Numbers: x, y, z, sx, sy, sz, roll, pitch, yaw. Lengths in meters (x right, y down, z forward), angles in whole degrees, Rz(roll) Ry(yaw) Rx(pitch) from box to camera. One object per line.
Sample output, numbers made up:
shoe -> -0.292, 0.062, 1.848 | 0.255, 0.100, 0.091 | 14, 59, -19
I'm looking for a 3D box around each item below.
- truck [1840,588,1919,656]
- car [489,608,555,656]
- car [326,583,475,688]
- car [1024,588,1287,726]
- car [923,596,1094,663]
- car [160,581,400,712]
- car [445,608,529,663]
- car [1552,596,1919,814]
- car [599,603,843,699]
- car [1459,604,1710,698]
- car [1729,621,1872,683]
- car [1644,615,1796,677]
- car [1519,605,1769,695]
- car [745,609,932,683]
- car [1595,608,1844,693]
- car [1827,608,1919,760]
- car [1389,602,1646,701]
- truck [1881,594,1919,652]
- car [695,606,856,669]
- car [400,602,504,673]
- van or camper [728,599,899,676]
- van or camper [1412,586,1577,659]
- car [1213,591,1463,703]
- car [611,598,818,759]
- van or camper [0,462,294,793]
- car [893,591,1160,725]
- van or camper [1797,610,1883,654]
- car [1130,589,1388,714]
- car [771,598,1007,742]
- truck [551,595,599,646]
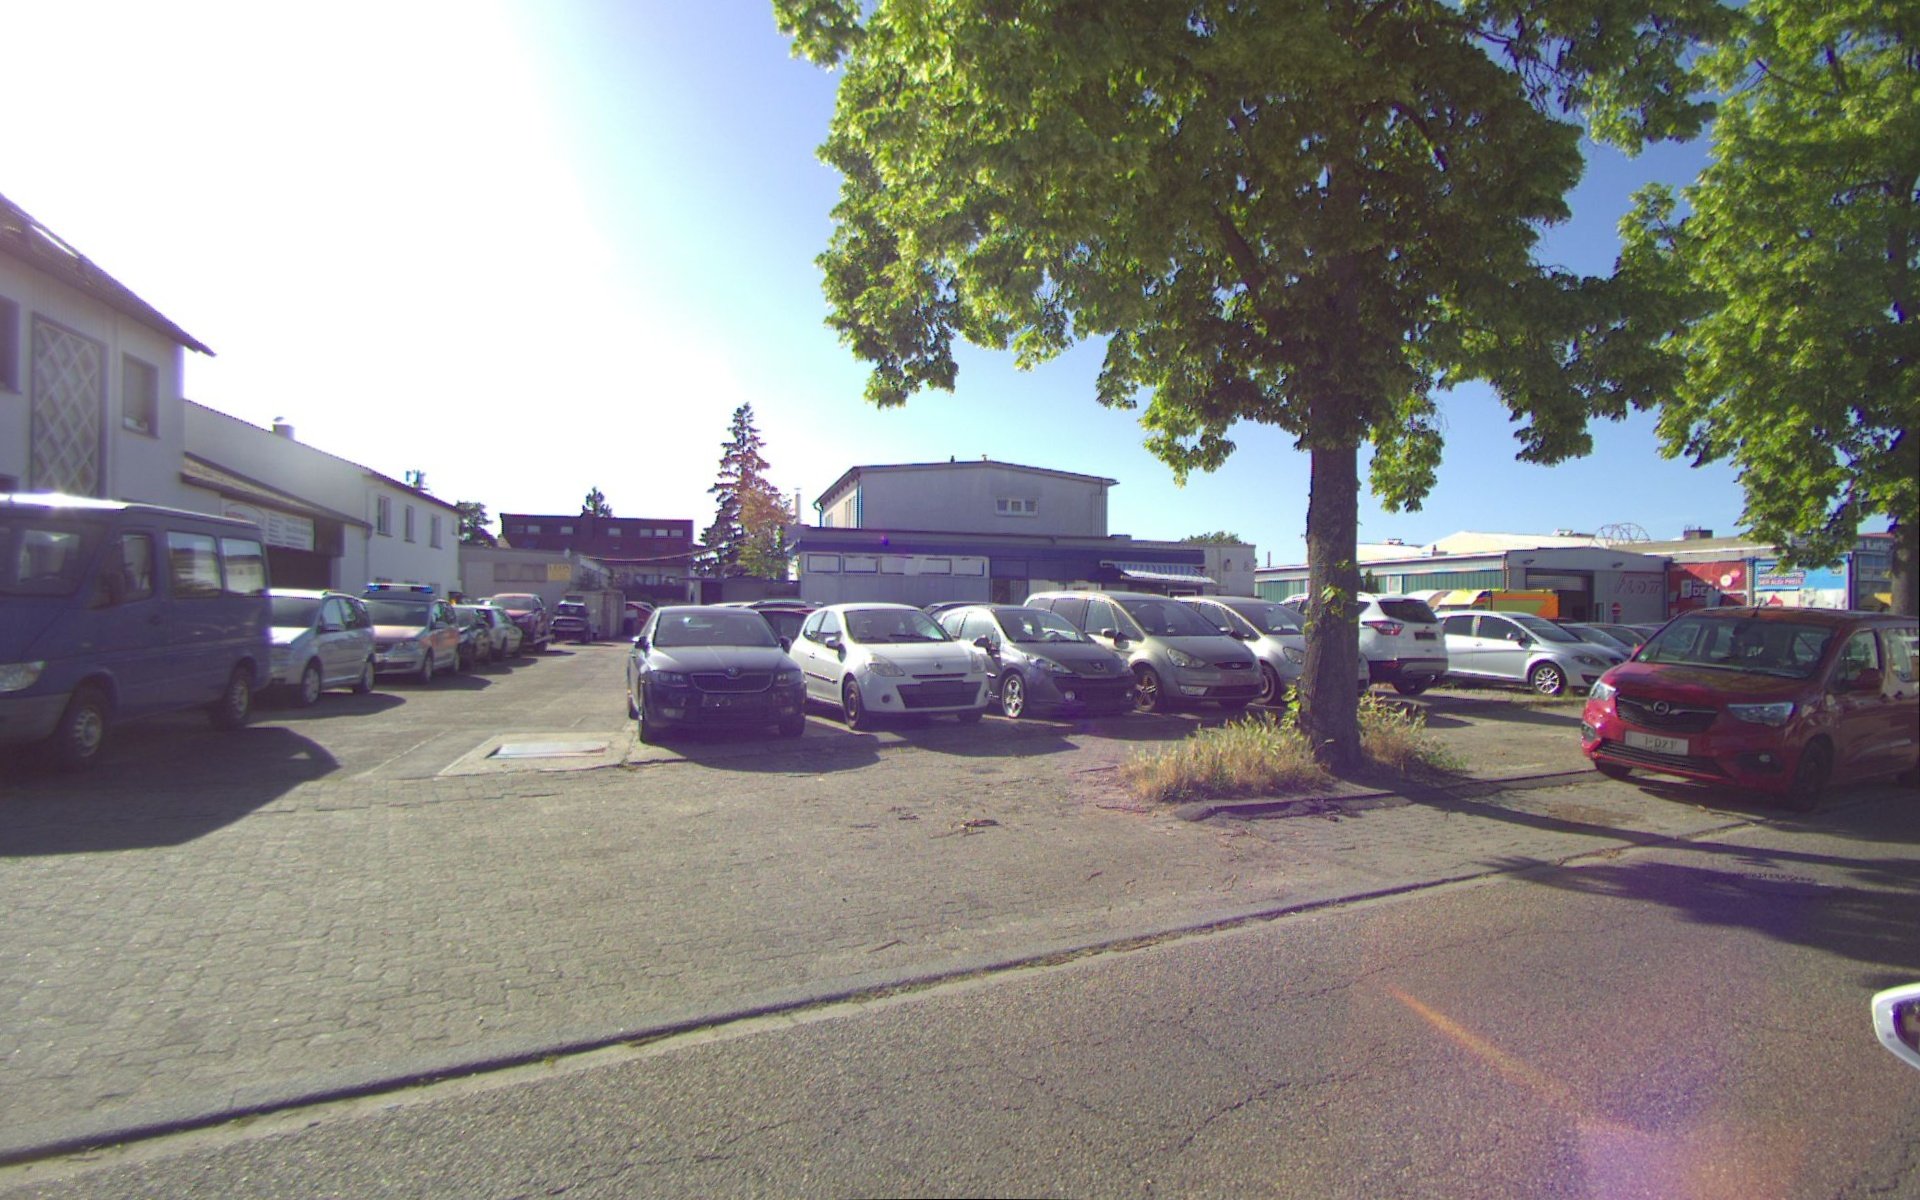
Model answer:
truck -> 46.168, 1.079, 47.983 | 2.483, 3.161, 5.664 | 1, 1, -18
car -> -14.623, 1.034, 33.680 | 1.477, 1.496, 3.863 | 1, -1, -16
car -> -10.921, 0.658, 19.901 | 1.651, 1.860, 4.041 | 1, -1, -16
car -> 2.771, 0.778, 15.246 | 1.742, 1.776, 4.235 | 1, -1, -26
car -> 1.210, 0.736, 25.203 | 3.941, 1.576, 1.694 | 1, 0, -22
car -> -9.648, 0.637, 14.636 | 1.651, 1.600, 3.982 | 3, -2, -16
car -> -13.281, 0.956, 28.391 | 1.477, 1.451, 4.041 | 1, -1, -16
car -> 8.171, 0.915, 10.196 | 4.290, 1.776, 1.795 | 1, 1, -30
car -> -4.191, 0.859, 17.631 | 3.944, 1.537, 1.660 | 1, -1, -24
car -> 12.846, 0.983, 20.991 | 1.741, 1.751, 4.239 | 1, -1, -23
car -> 24.229, 1.505, 28.937 | 4.227, 1.610, 1.852 | 4, -2, -31
car -> 23.517, 1.372, 31.101 | 4.098, 1.772, 1.775 | 0, 0, -19
car -> 14.657, 1.019, 21.812 | 1.741, 1.751, 4.239 | 1, -1, -23
car -> -2.785, 1.018, 22.941 | 3.941, 1.576, 1.694 | 1, 0, -22
car -> 17.109, 1.076, 22.886 | 1.741, 1.751, 4.239 | 1, -1, -23
car -> 13.463, 1.068, 13.245 | 4.502, 1.795, 1.666 | 1, 2, -30
car -> 10.866, 0.942, 19.931 | 1.743, 1.751, 4.233 | 1, -1, -27
truck -> 51.255, 1.197, 51.260 | 2.137, 3.012, 6.091 | 1, -1, -16
car -> -4.901, 0.976, 26.601 | 3.941, 1.576, 1.694 | 1, 0, -22
car -> -12.200, 0.859, 24.342 | 1.477, 1.565, 4.041 | 1, -1, -16
van or camper -> -3.650, 0.920, 25.008 | 3.941, 1.797, 1.694 | 1, 0, -22
van or camper -> 21.243, 0.900, 39.904 | 6.172, 2.751, 2.162 | 1, 0, -19
car -> 6.548, 0.774, 17.921 | 1.741, 1.751, 4.239 | 1, -1, -23
car -> -3.115, 0.779, 12.062 | 1.741, 1.562, 4.239 | 1, 0, -23
van or camper -> -8.313, 0.169, 9.255 | 2.207, 2.351, 4.891 | 2, 0, -16
car -> 0.763, 0.697, 14.328 | 1.745, 1.607, 4.228 | 1, 0, -30
van or camper -> 42.130, 1.535, 48.076 | 3.950, 2.040, 1.853 | 1, -1, -28
car -> 4.688, 0.761, 16.416 | 1.741, 1.751, 4.239 | 1, -1, -23
car -> -1.113, 0.779, 13.190 | 1.741, 1.562, 4.237 | 0, -1, -24
truck -> -18.718, 0.953, 48.998 | 1.601, 2.314, 6.036 | 1, -1, -16
